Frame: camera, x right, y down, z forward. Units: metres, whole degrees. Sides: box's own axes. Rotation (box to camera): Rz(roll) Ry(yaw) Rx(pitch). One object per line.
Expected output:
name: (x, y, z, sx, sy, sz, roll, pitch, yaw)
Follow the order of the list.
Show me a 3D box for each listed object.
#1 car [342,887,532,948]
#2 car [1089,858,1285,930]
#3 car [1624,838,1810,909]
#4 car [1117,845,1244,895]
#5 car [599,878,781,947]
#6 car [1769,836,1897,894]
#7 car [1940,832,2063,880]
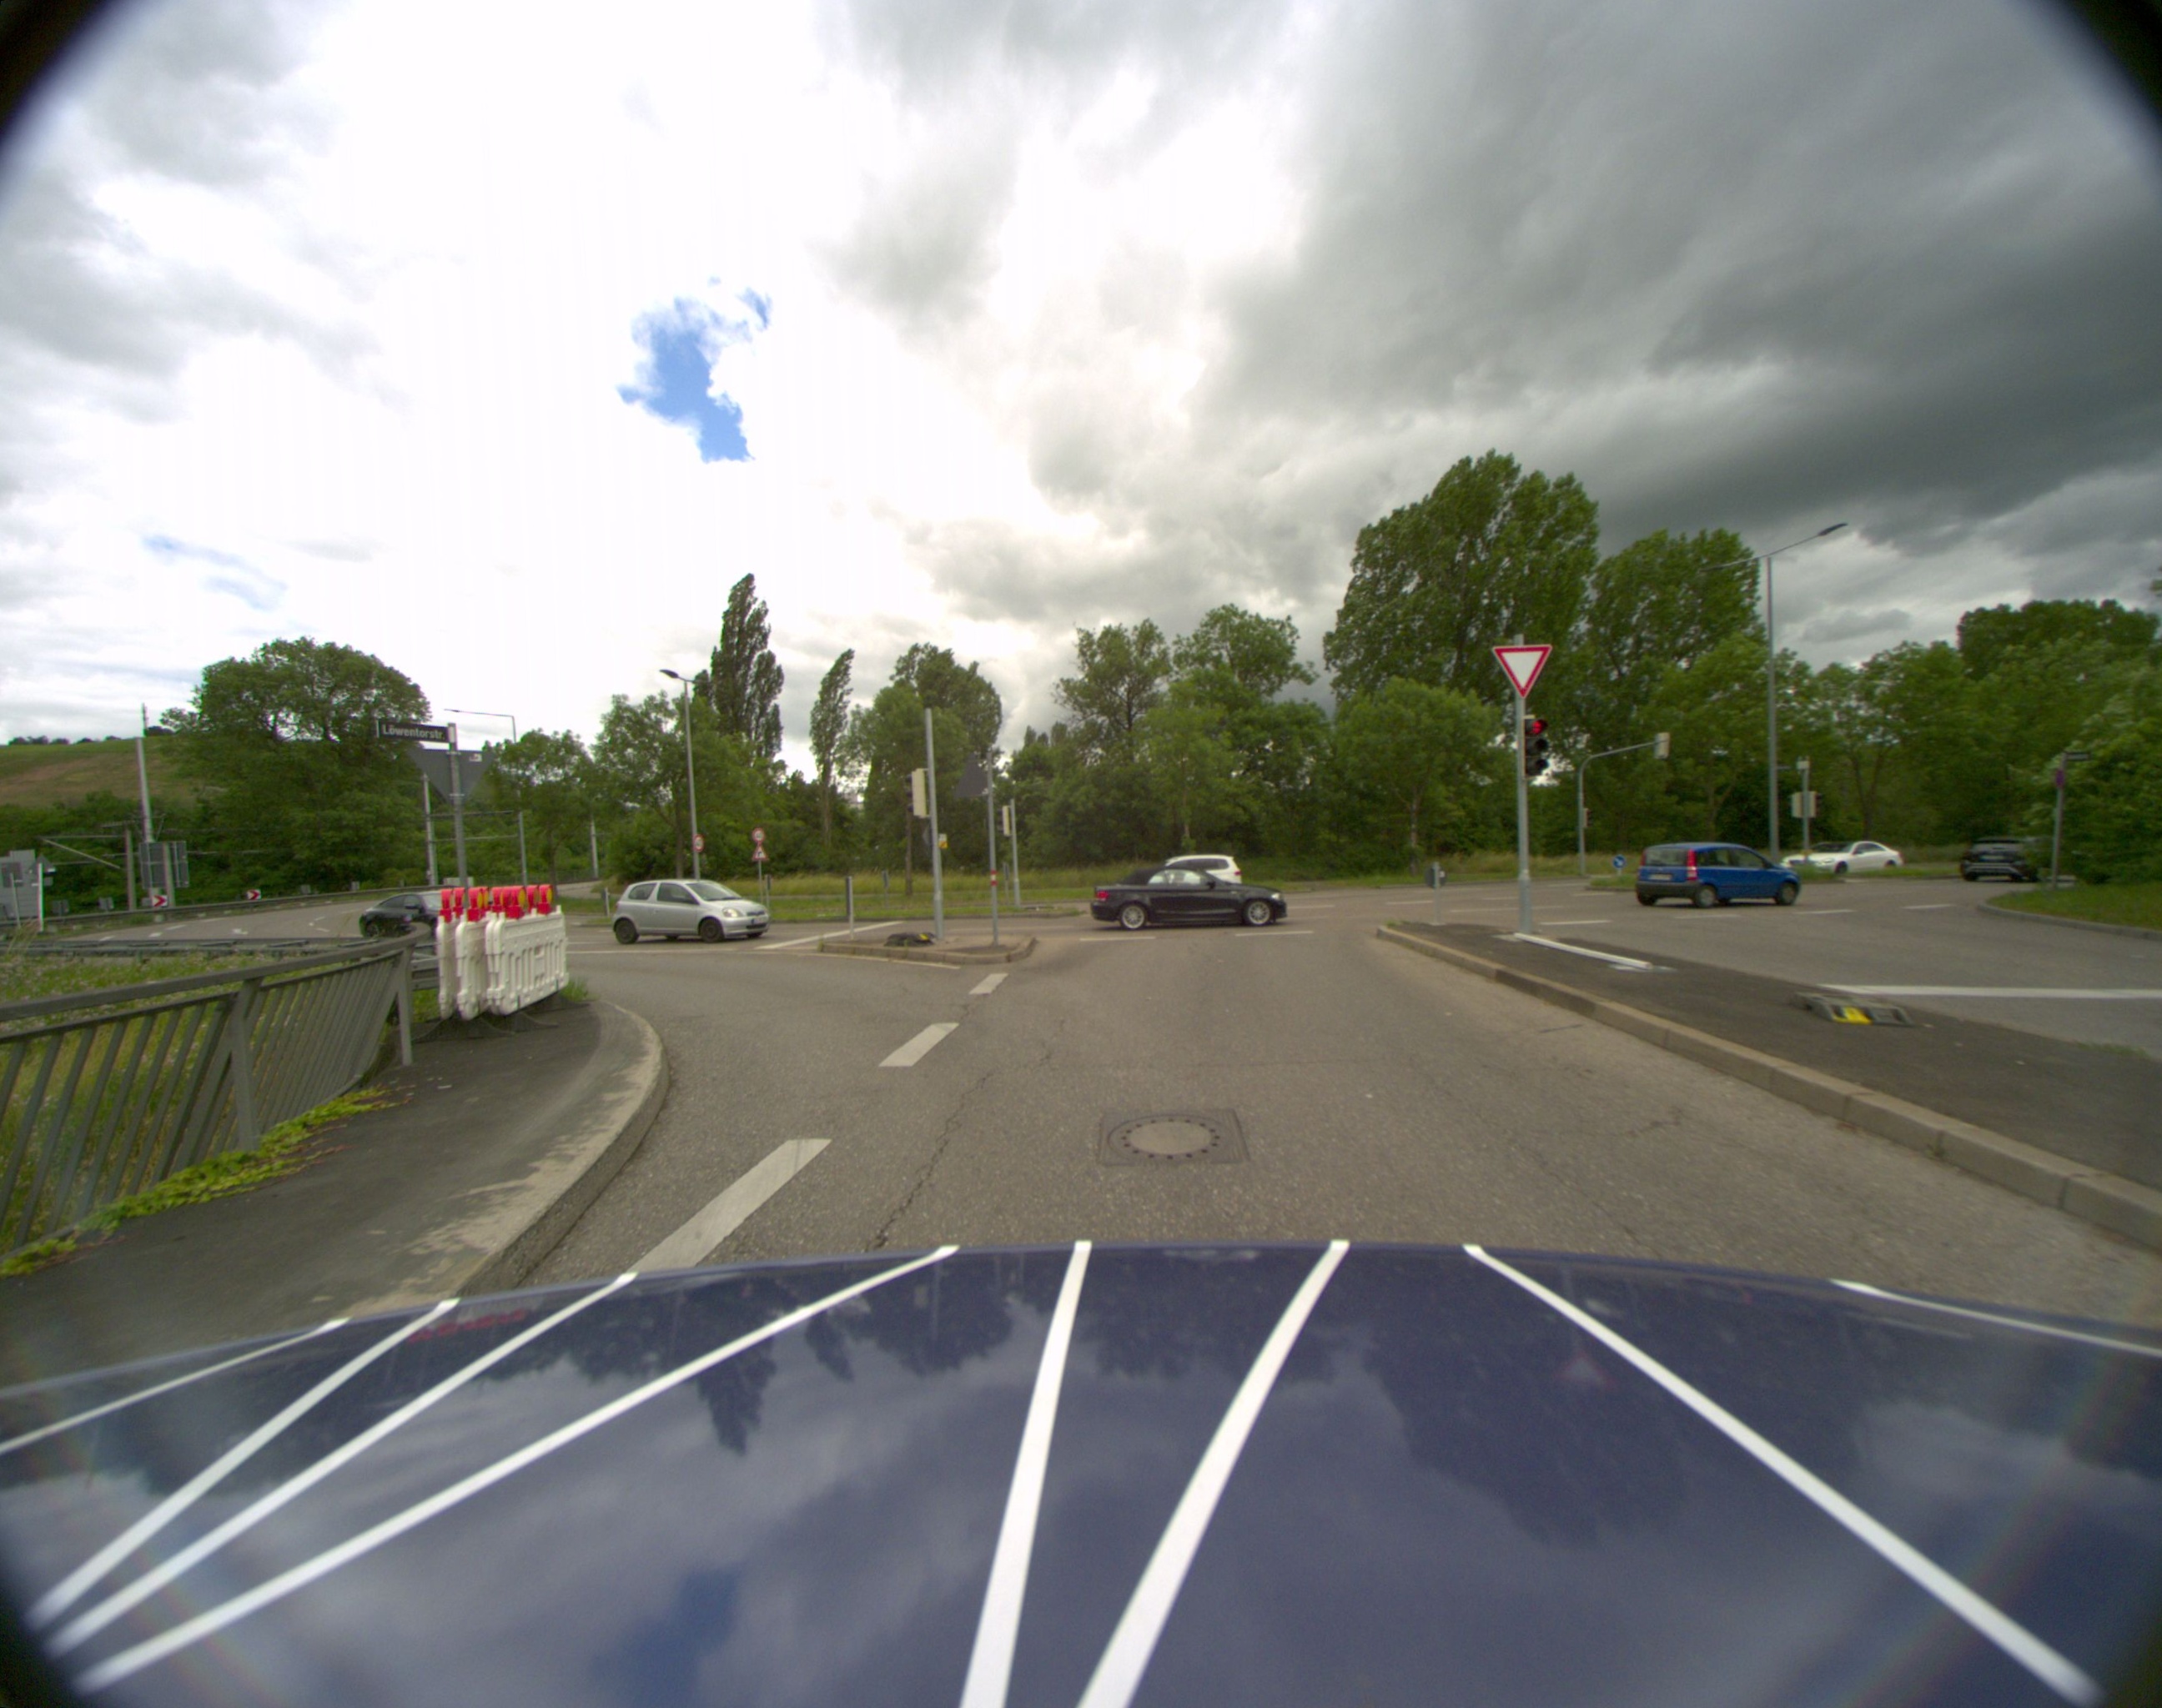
car: (-17.703, 1.718, 20.867, 4.952, 1.467, 1.882, -2, -1, 22)
car: (2.283, 0.868, 16.949, 4.079, 1.360, 1.569, -2, -1, 3)
car: (15.085, 0.453, 18.102, 3.380, 1.498, 1.547, -2, 0, -10)
car: (3.655, 0.622, 28.365, 4.322, 1.749, 2.082, 1, -1, -7)
car: (-9.313, 1.392, 18.175, 3.622, 1.461, 1.676, -2, 0, 14)
car: (31.390, 0.405, 31.749, 4.324, 1.983, 1.932, -5, 3, -16)
car: (31.610, 0.065, 26.088, 3.774, 1.498, 1.658, -2, -1, -23)
